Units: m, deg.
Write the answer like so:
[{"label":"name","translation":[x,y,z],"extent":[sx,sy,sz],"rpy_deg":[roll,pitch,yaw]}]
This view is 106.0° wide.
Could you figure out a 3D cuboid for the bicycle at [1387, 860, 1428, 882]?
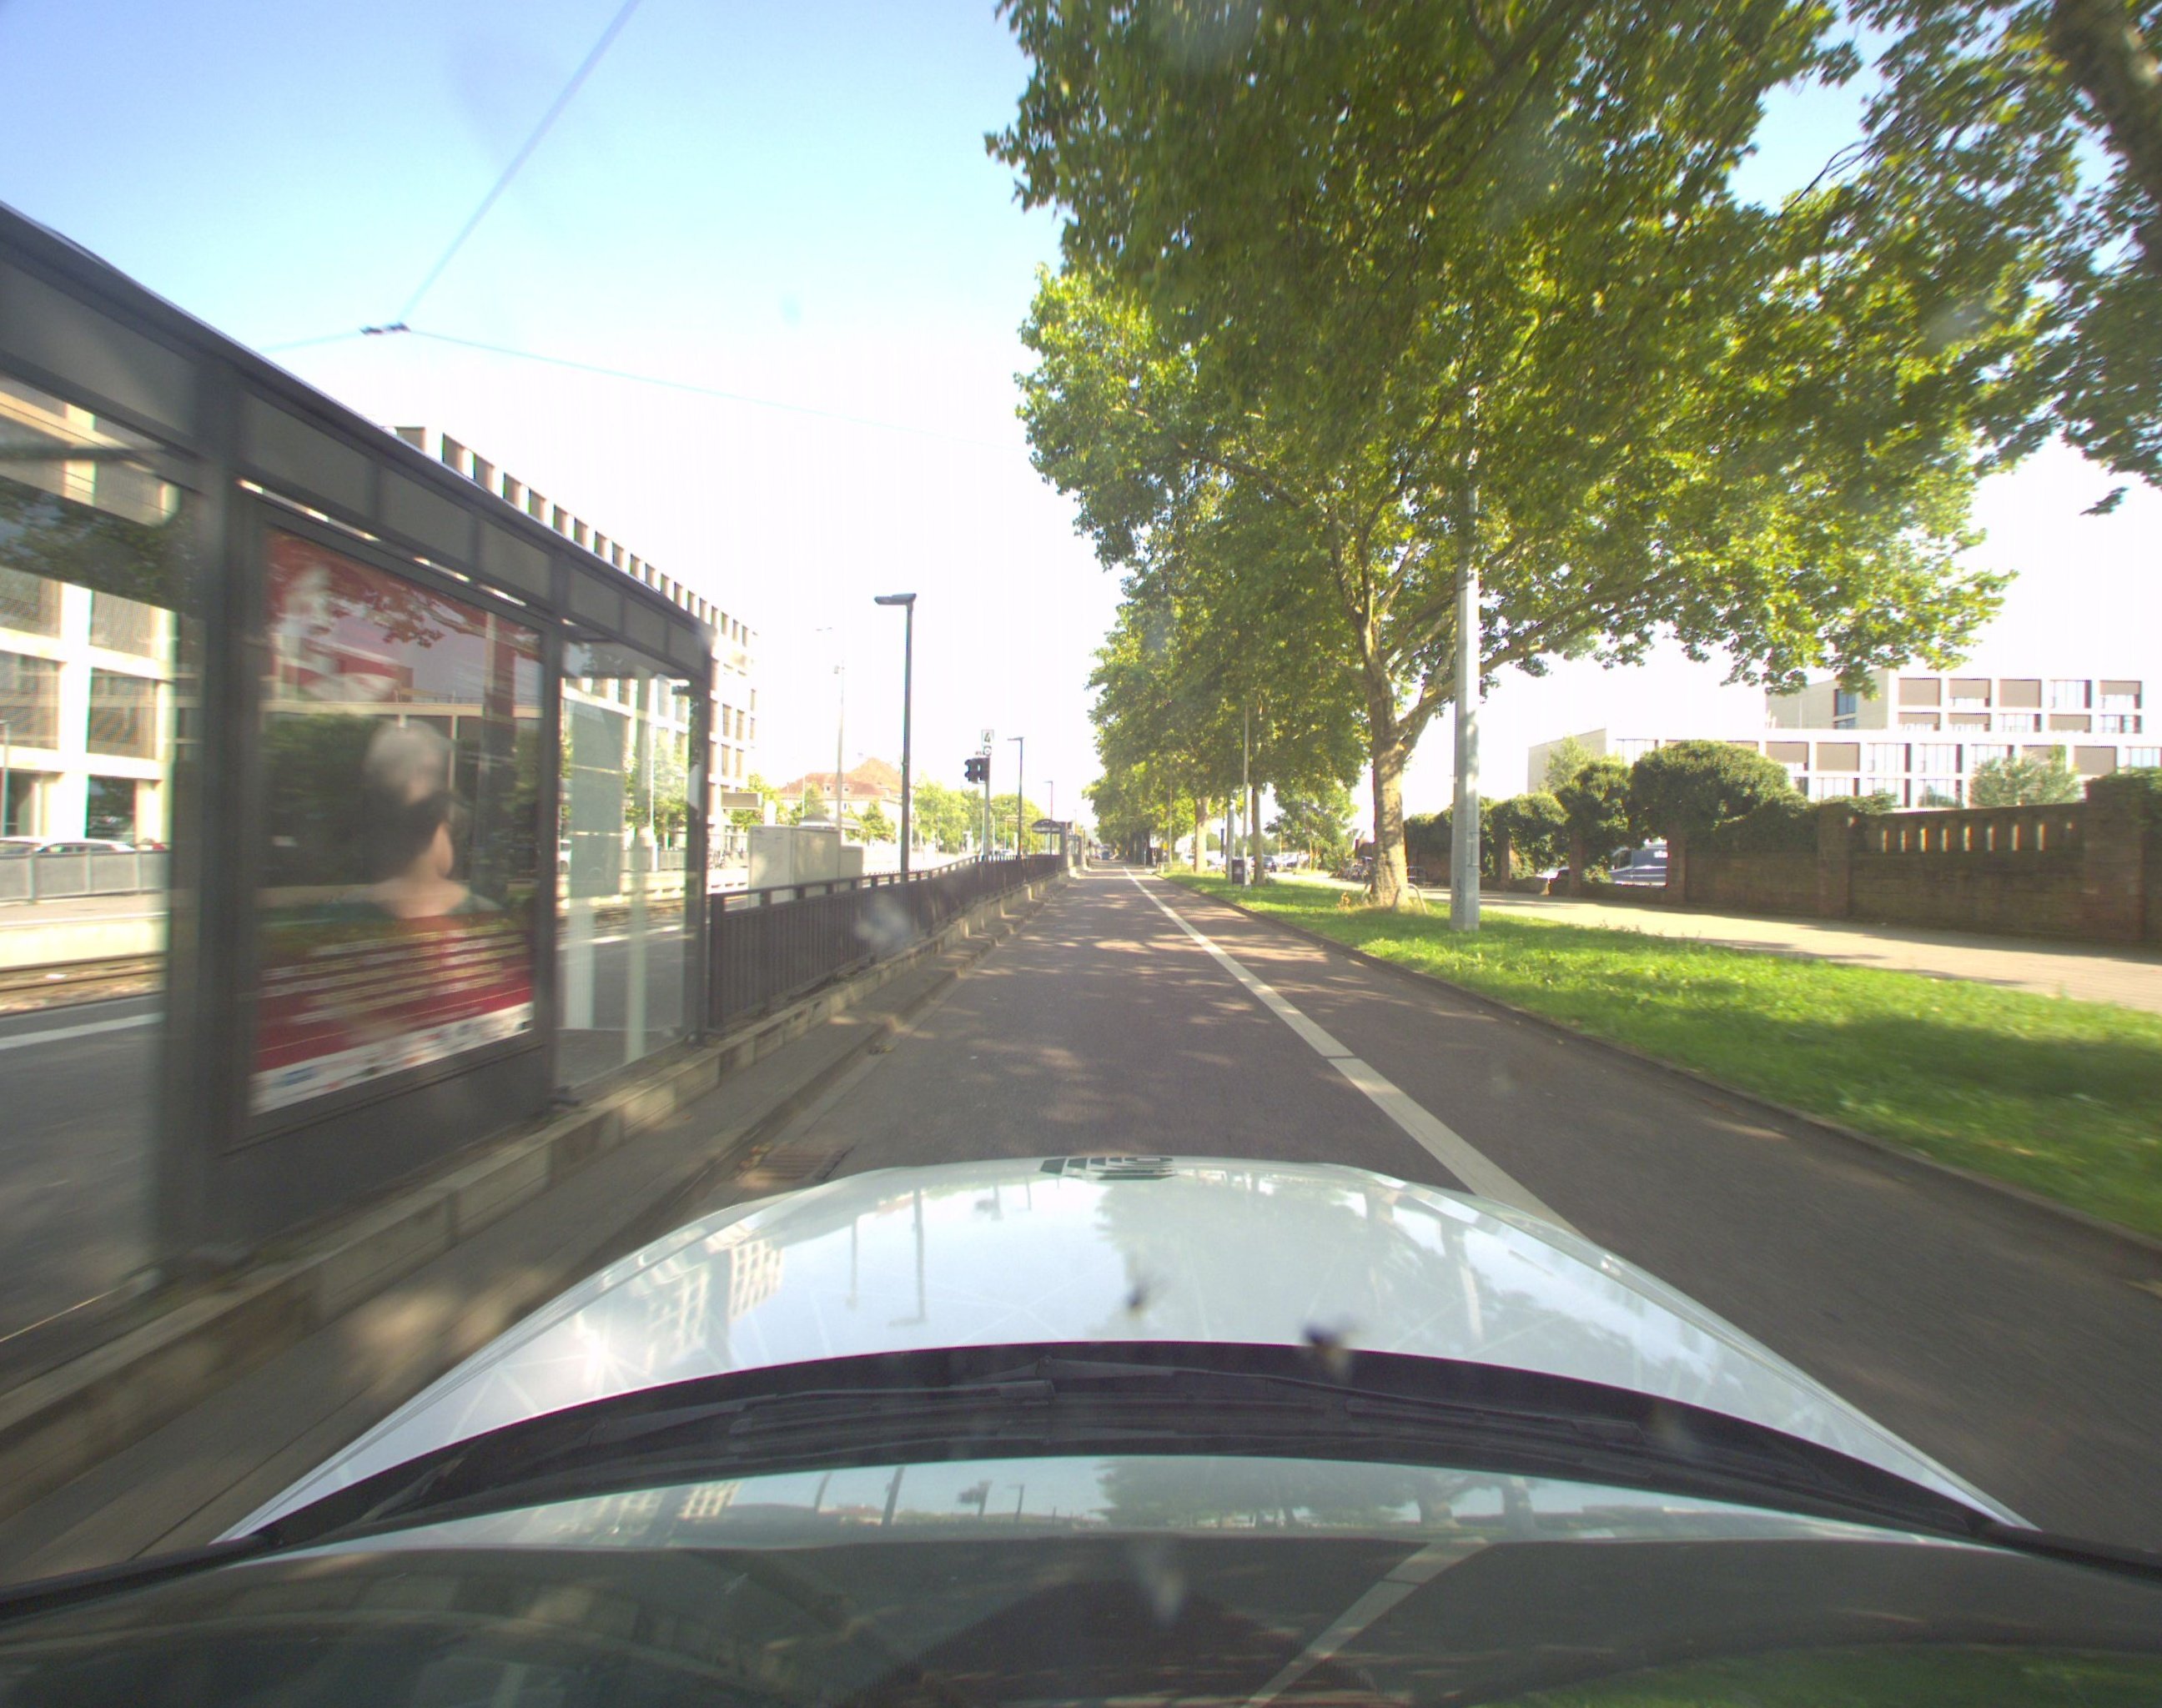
[{"label":"bicycle","translation":[14.831,0.765,37.031],"extent":[1.649,0.969,0.506],"rpy_deg":[-1,0,2]}]

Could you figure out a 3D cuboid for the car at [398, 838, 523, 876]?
[{"label":"car","translation":[-24.487,0.113,32.328],"extent":[1.636,1.377,4.224],"rpy_deg":[1,0,1]}]

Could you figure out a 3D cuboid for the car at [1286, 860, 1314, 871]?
[{"label":"car","translation":[31.484,1.682,117.251],"extent":[3.753,1.446,1.530],"rpy_deg":[2,-1,8]}]

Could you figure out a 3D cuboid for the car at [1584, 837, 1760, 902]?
[{"label":"car","translation":[22.479,0.567,31.139],"extent":[5.107,2.368,2.133],"rpy_deg":[0,0,4]}]

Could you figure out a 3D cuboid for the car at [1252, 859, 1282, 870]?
[{"label":"car","translation":[25.117,1.430,109.930],"extent":[3.753,1.446,1.530],"rpy_deg":[2,-1,8]}]

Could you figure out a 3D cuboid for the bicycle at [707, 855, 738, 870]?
[{"label":"bicycle","translation":[-16.005,0.364,36.388],"extent":[0.474,0.662,1.616],"rpy_deg":[1,0,6]}]

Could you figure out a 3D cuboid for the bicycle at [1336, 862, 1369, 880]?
[{"label":"bicycle","translation":[14.389,0.900,43.216],"extent":[0.509,0.969,1.642],"rpy_deg":[-1,0,-40]}]

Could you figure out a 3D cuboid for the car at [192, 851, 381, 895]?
[{"label":"car","translation":[-24.464,0.539,25.320],"extent":[1.636,1.253,4.224],"rpy_deg":[1,0,1]}]

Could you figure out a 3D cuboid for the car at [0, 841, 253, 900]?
[{"label":"car","translation":[-24.539,0.378,21.150],"extent":[1.636,1.377,4.224],"rpy_deg":[1,0,1]}]

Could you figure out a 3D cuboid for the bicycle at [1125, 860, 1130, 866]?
[{"label":"bicycle","translation":[8.115,1.567,142.594],"extent":[0.712,1.107,2.510],"rpy_deg":[2,0,2]}]

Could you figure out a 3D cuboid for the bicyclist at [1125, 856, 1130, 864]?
[{"label":"bicyclist","translation":[8.122,1.037,142.590],"extent":[0.703,1.461,1.009],"rpy_deg":[2,-1,2]}]

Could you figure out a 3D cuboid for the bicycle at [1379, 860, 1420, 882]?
[{"label":"bicycle","translation":[14.787,0.787,37.826],"extent":[1.647,0.969,0.507],"rpy_deg":[-1,0,6]}]

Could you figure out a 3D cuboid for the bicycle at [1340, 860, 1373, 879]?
[{"label":"bicycle","translation":[14.815,0.827,43.825],"extent":[0.509,0.969,1.642],"rpy_deg":[-1,0,-40]}]

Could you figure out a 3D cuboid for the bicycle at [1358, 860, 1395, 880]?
[{"label":"bicycle","translation":[14.740,0.793,40.666],"extent":[1.647,0.969,0.507],"rpy_deg":[-1,0,6]}]

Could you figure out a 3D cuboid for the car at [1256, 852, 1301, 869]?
[{"label":"car","translation":[19.572,0.632,80.633],"extent":[4.258,1.679,1.712],"rpy_deg":[1,0,-27]}]

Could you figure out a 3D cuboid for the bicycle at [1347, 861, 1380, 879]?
[{"label":"bicycle","translation":[15.668,0.901,45.252],"extent":[1.649,0.969,0.506],"rpy_deg":[-1,0,4]}]

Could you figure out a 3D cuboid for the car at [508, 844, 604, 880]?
[{"label":"car","translation":[-24.206,0.336,37.739],"extent":[1.636,1.550,4.224],"rpy_deg":[1,0,1]}]

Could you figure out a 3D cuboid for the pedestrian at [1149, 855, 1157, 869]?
[{"label":"pedestrian","translation":[8.678,0.968,97.752],"extent":[0.619,1.617,0.850],"rpy_deg":[0,0,39]}]

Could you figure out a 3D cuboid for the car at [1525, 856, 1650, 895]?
[{"label":"car","translation":[23.118,0.952,37.331],"extent":[4.499,1.675,1.980],"rpy_deg":[0,0,5]}]

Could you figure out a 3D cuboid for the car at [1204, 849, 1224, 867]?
[{"label":"car","translation":[15.447,0.419,94.593],"extent":[1.715,2.048,4.463],"rpy_deg":[1,0,2]}]
